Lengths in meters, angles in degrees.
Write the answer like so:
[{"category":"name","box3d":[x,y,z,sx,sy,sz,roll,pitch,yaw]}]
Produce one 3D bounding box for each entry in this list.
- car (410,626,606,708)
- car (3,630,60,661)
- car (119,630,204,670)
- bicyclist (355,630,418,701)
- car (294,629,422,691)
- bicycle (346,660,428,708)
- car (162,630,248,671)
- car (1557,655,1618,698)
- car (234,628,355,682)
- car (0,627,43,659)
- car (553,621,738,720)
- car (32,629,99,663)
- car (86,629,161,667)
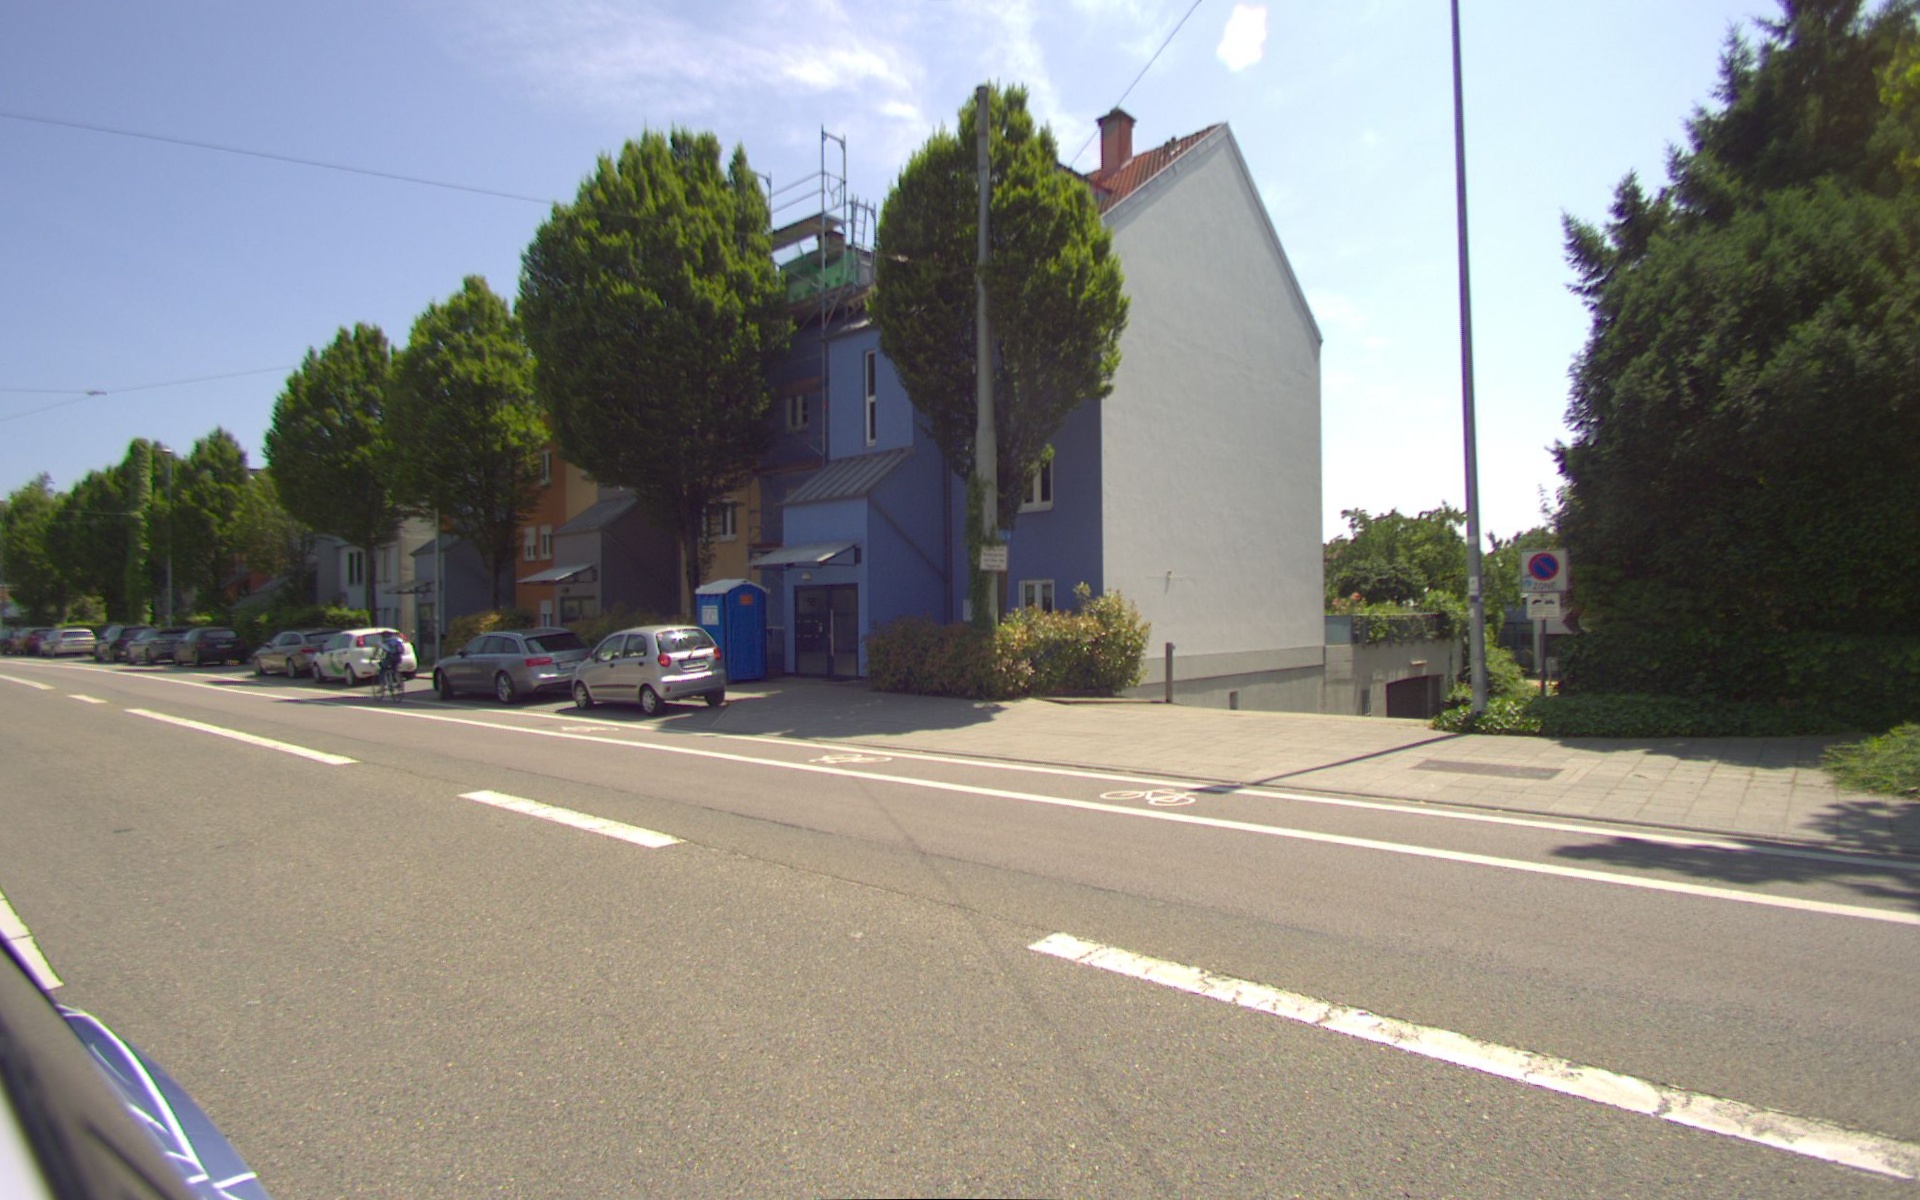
[{"category":"car","box3d":[-9.919,1.412,21.986,5.129,1.461,1.769,-3,2,40]},{"category":"car","box3d":[-52.075,2.581,56.760,3.673,1.606,1.586,-2,0,35]},{"category":"car","box3d":[-33.768,2.075,42.774,4.752,1.507,1.807,-2,0,39]},{"category":"bicyclist","box3d":[-12.124,1.380,21.409,1.123,1.442,0.728,-2,-5,38]},{"category":"car","box3d":[-17.125,1.652,28.723,4.417,1.453,1.729,-2,3,41]},{"category":"bicycle","box3d":[-12.129,1.748,21.392,2.240,0.958,0.695,-3,-4,39]},{"category":"car","box3d":[-29.552,1.948,39.578,4.254,1.443,1.732,-2,1,40]},{"category":"car","box3d":[31.300,3.758,50.426,1.999,1.730,3.946,-1,1,40]},{"category":"car","box3d":[-21.274,1.738,32.276,4.744,1.440,1.688,-2,3,38]},{"category":"car","box3d":[-56.231,2.526,59.912,4.548,1.807,1.976,-2,-1,36]},{"category":"car","box3d":[-5.811,1.222,18.541,3.447,1.506,1.577,-2,3,41]},{"category":"car","box3d":[-47.225,2.419,53.384,4.490,1.594,1.823,-2,0,38]},{"category":"car","box3d":[-38.343,2.181,46.371,4.142,1.601,1.750,-2,0,38]}]
